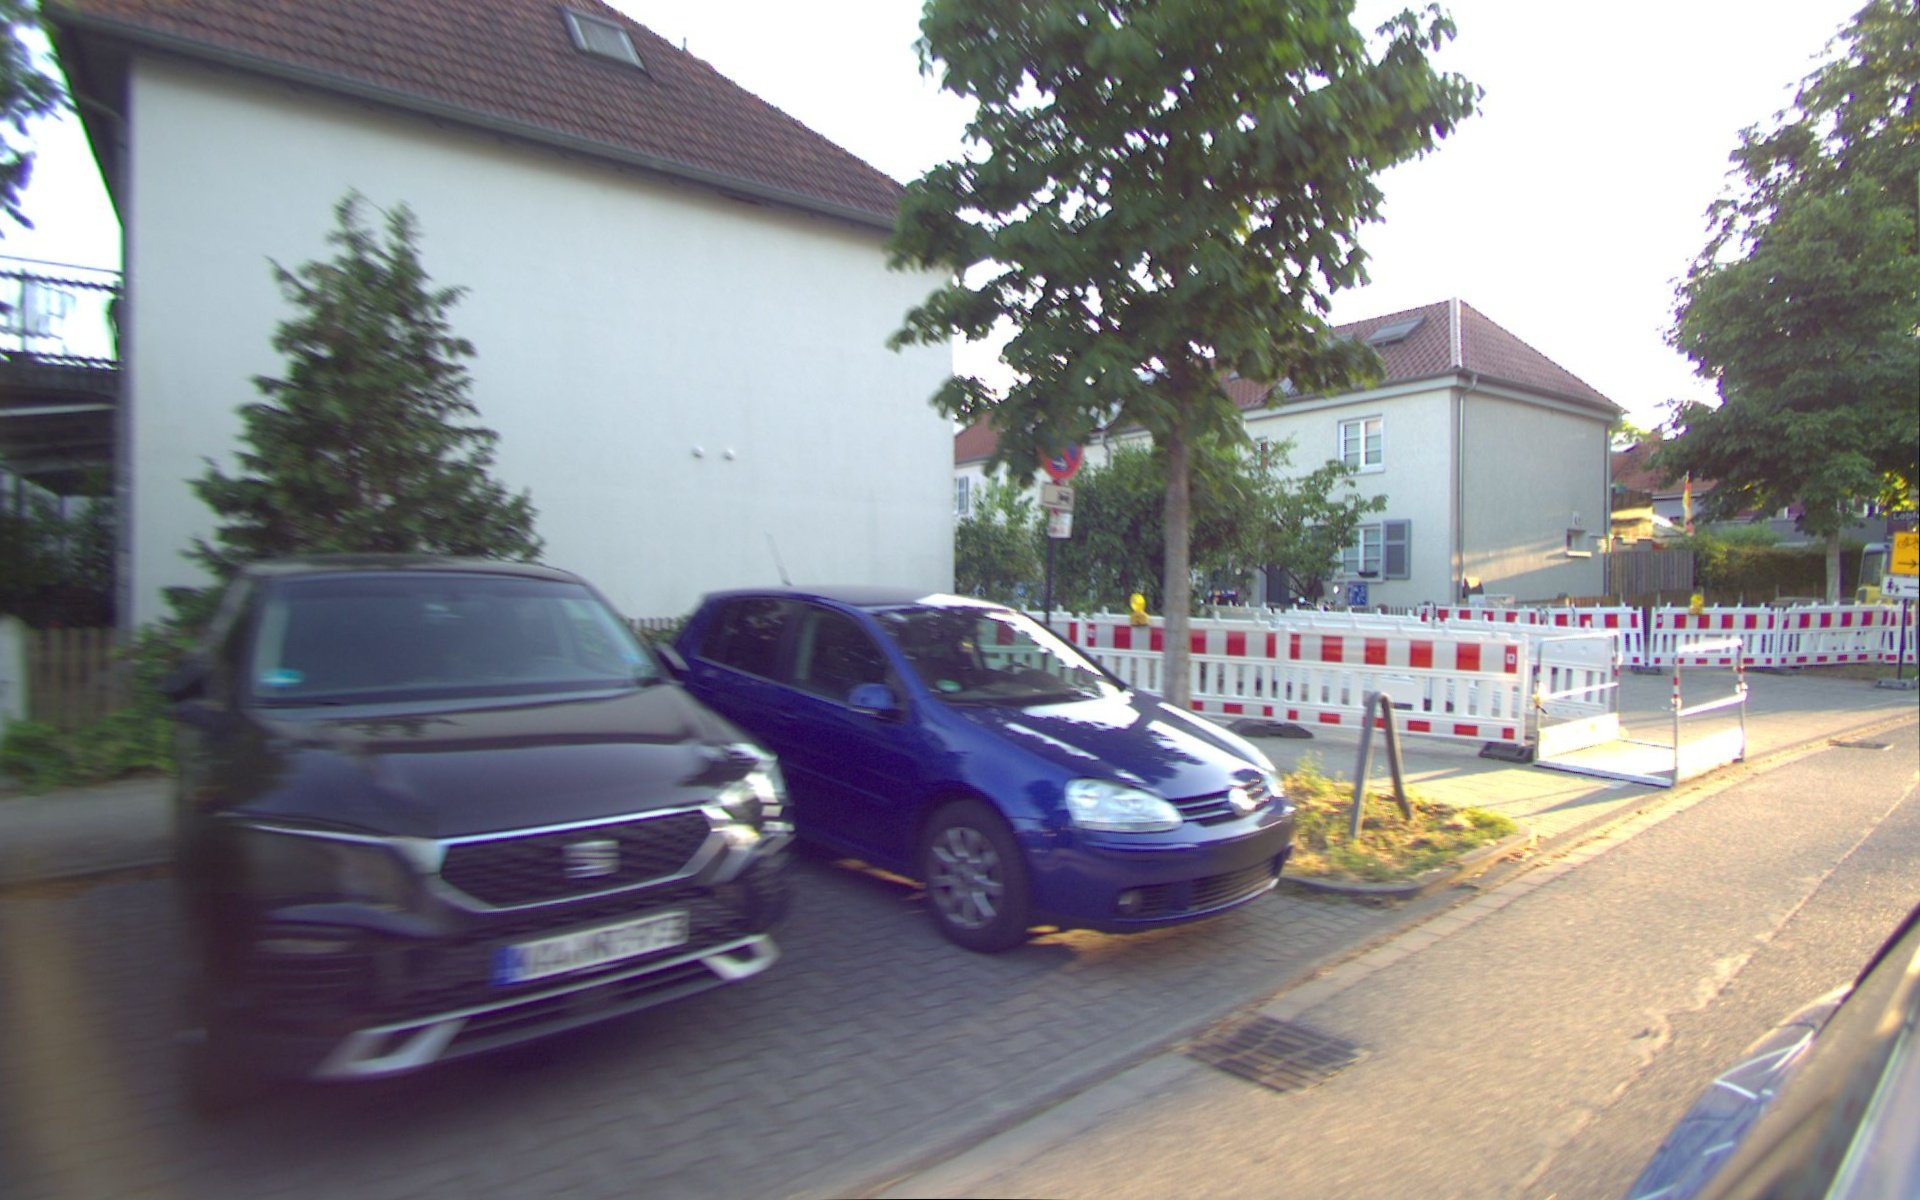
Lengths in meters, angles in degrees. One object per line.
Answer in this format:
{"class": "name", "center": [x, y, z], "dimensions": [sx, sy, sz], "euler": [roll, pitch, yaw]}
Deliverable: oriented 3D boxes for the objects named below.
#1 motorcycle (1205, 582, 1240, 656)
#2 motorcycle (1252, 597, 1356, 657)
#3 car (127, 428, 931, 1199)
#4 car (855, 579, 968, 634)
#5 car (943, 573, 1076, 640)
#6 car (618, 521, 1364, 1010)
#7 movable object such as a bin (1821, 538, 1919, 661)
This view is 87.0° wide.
{"class": "motorcycle", "center": [5.334, 0.373, 20.621], "dimensions": [0.588, 1.434, 2.073], "euler": [0, 0, 12]}
{"class": "motorcycle", "center": [6.633, 0.506, 19.542], "dimensions": [1.810, 1.120, 0.581], "euler": [0, -1, -5]}
{"class": "car", "center": [-2.153, 0.478, 4.265], "dimensions": [1.966, 1.790, 3.994], "euler": [0, 2, -41]}
{"class": "car", "center": [-1.546, 0.183, 31.063], "dimensions": [1.769, 1.572, 3.643], "euler": [0, 0, -36]}
{"class": "car", "center": [1.253, 0.171, 26.952], "dimensions": [1.687, 1.658, 3.634], "euler": [0, 0, -34]}
{"class": "car", "center": [-0.136, 0.571, 5.512], "dimensions": [1.736, 1.672, 3.989], "euler": [0, 0, -44]}
{"class": "movable object such as a bin", "center": [20.897, -0.025, 21.869], "dimensions": [5.105, 2.433, 2.633], "euler": [0, 0, -40]}
